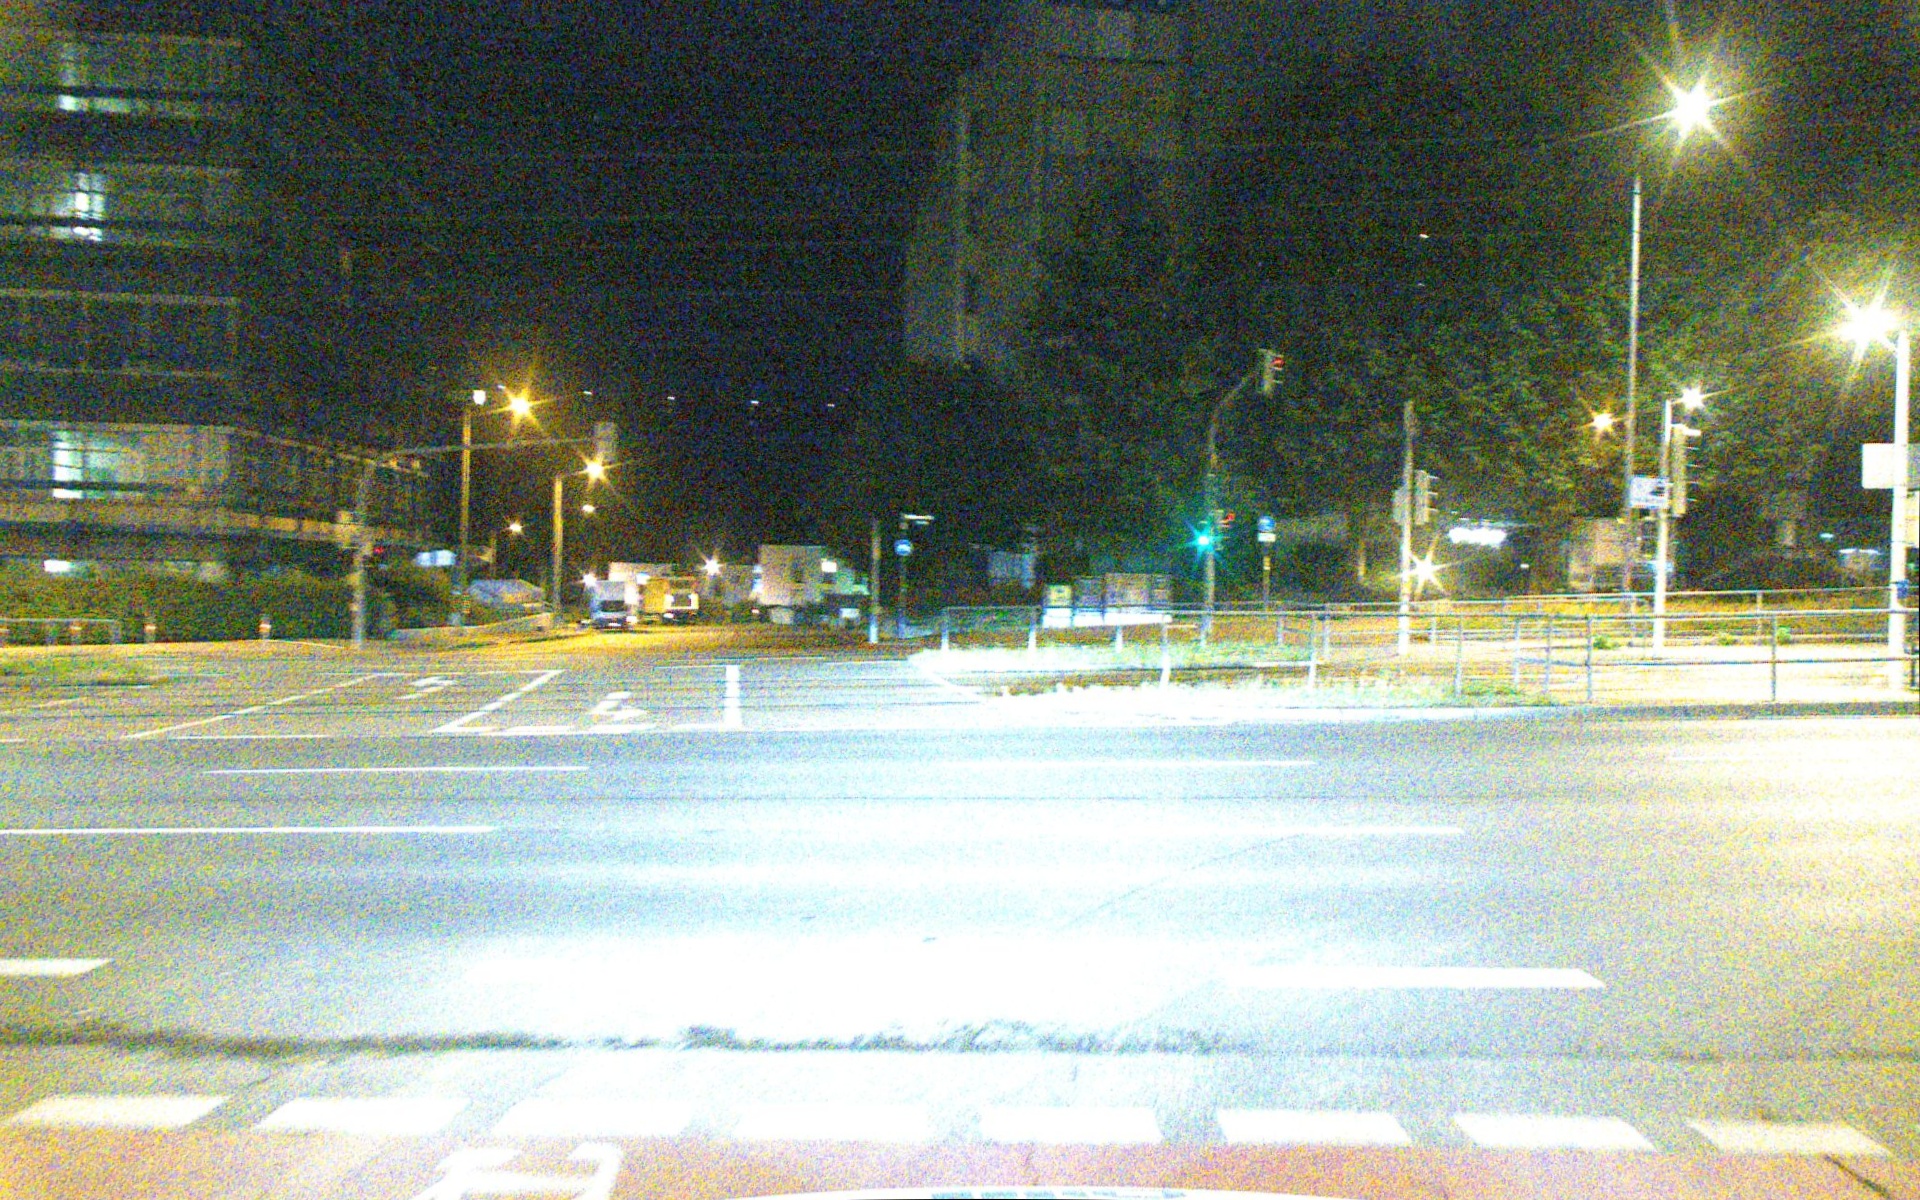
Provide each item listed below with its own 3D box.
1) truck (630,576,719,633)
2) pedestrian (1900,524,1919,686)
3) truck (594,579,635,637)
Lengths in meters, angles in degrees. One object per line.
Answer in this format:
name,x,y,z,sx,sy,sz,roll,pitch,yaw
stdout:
truck,-24.741,0.364,142.558,4.759,4.626,12.574,0,0,-23
pedestrian,10.851,0.043,17.944,0.740,1.775,0.833,-3,1,-6
truck,-23.103,0.527,110.451,2.538,3.772,5.717,0,0,-13
